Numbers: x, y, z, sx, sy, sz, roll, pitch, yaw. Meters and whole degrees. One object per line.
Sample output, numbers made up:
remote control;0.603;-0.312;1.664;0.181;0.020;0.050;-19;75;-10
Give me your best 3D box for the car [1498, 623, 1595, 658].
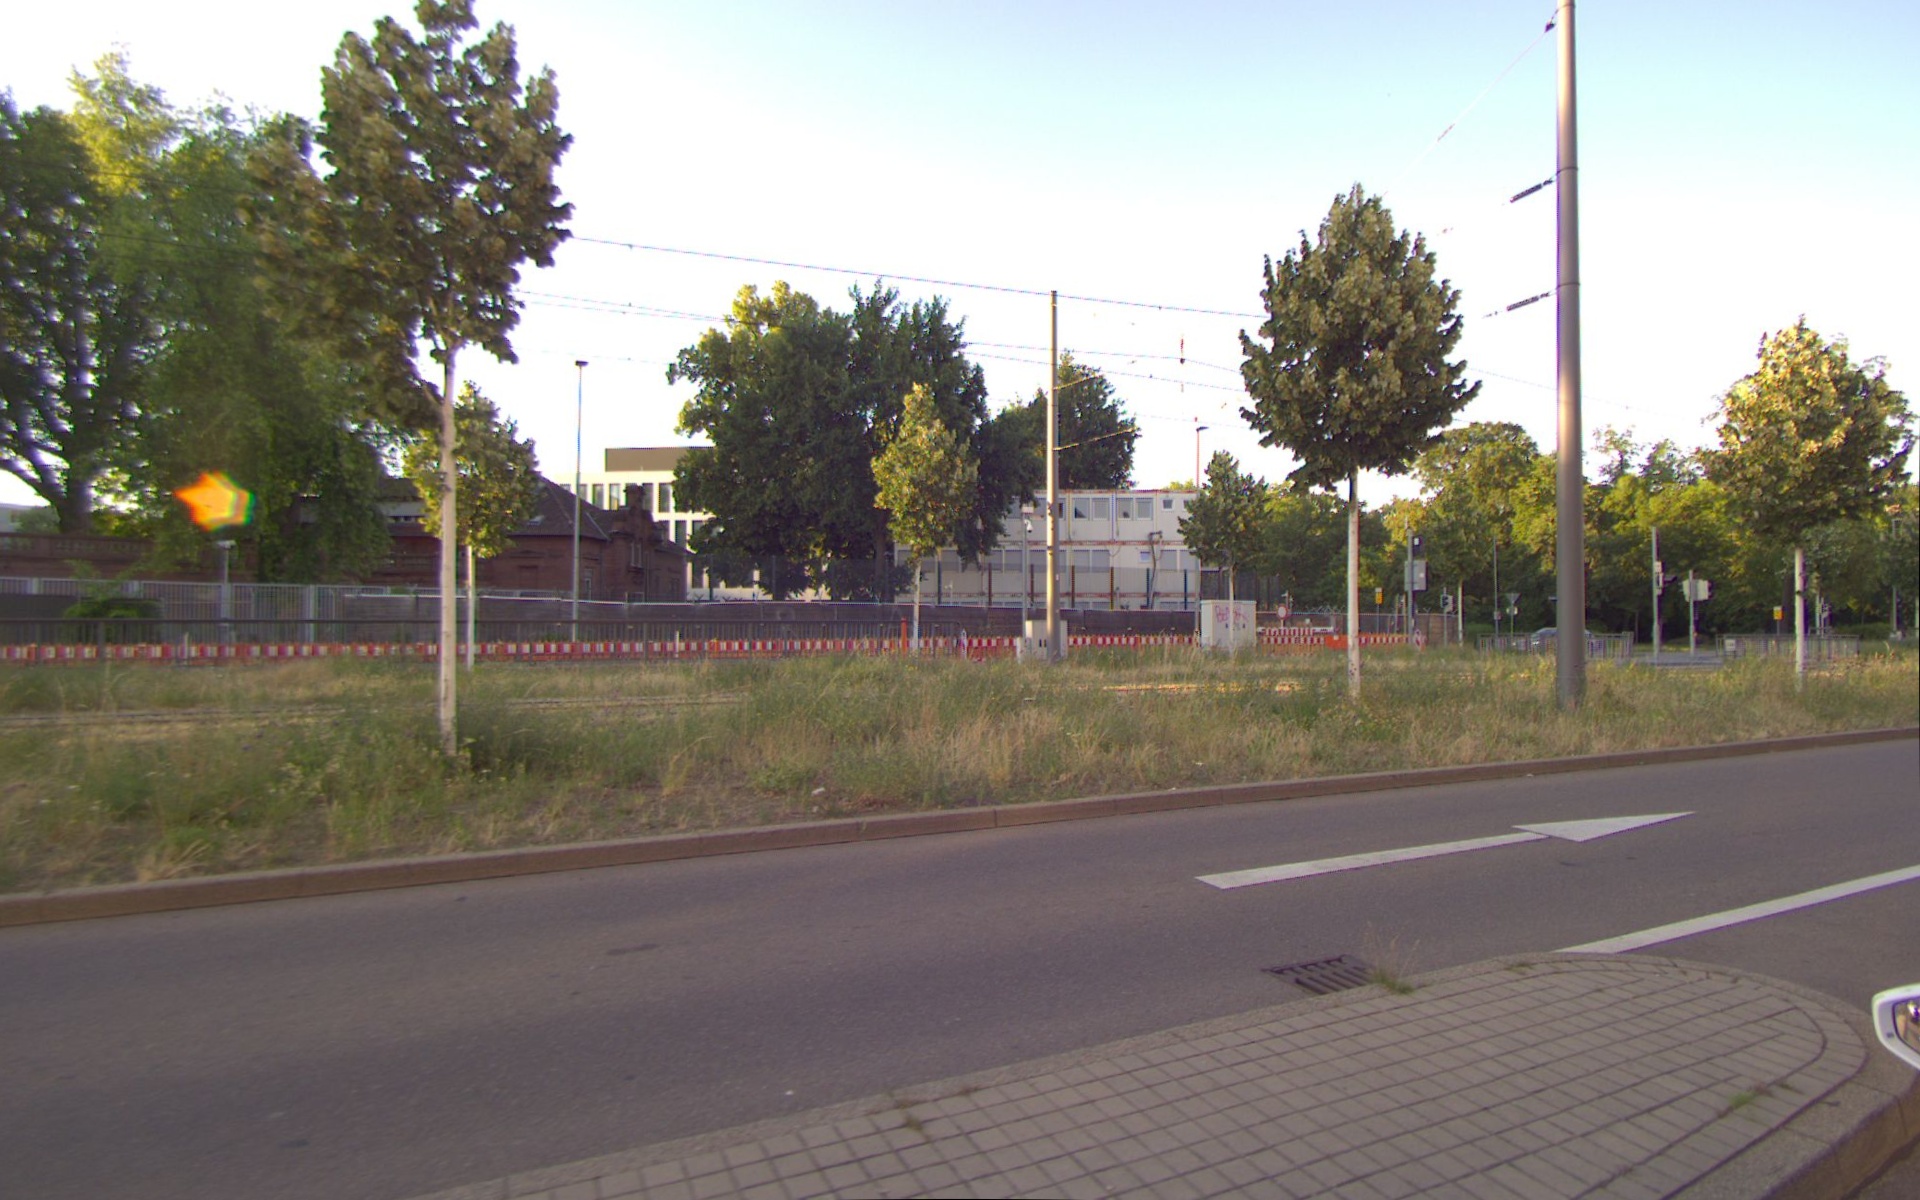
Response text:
car;28.499;1.937;48.785;4.460;1.501;1.926;-1;1;-25
